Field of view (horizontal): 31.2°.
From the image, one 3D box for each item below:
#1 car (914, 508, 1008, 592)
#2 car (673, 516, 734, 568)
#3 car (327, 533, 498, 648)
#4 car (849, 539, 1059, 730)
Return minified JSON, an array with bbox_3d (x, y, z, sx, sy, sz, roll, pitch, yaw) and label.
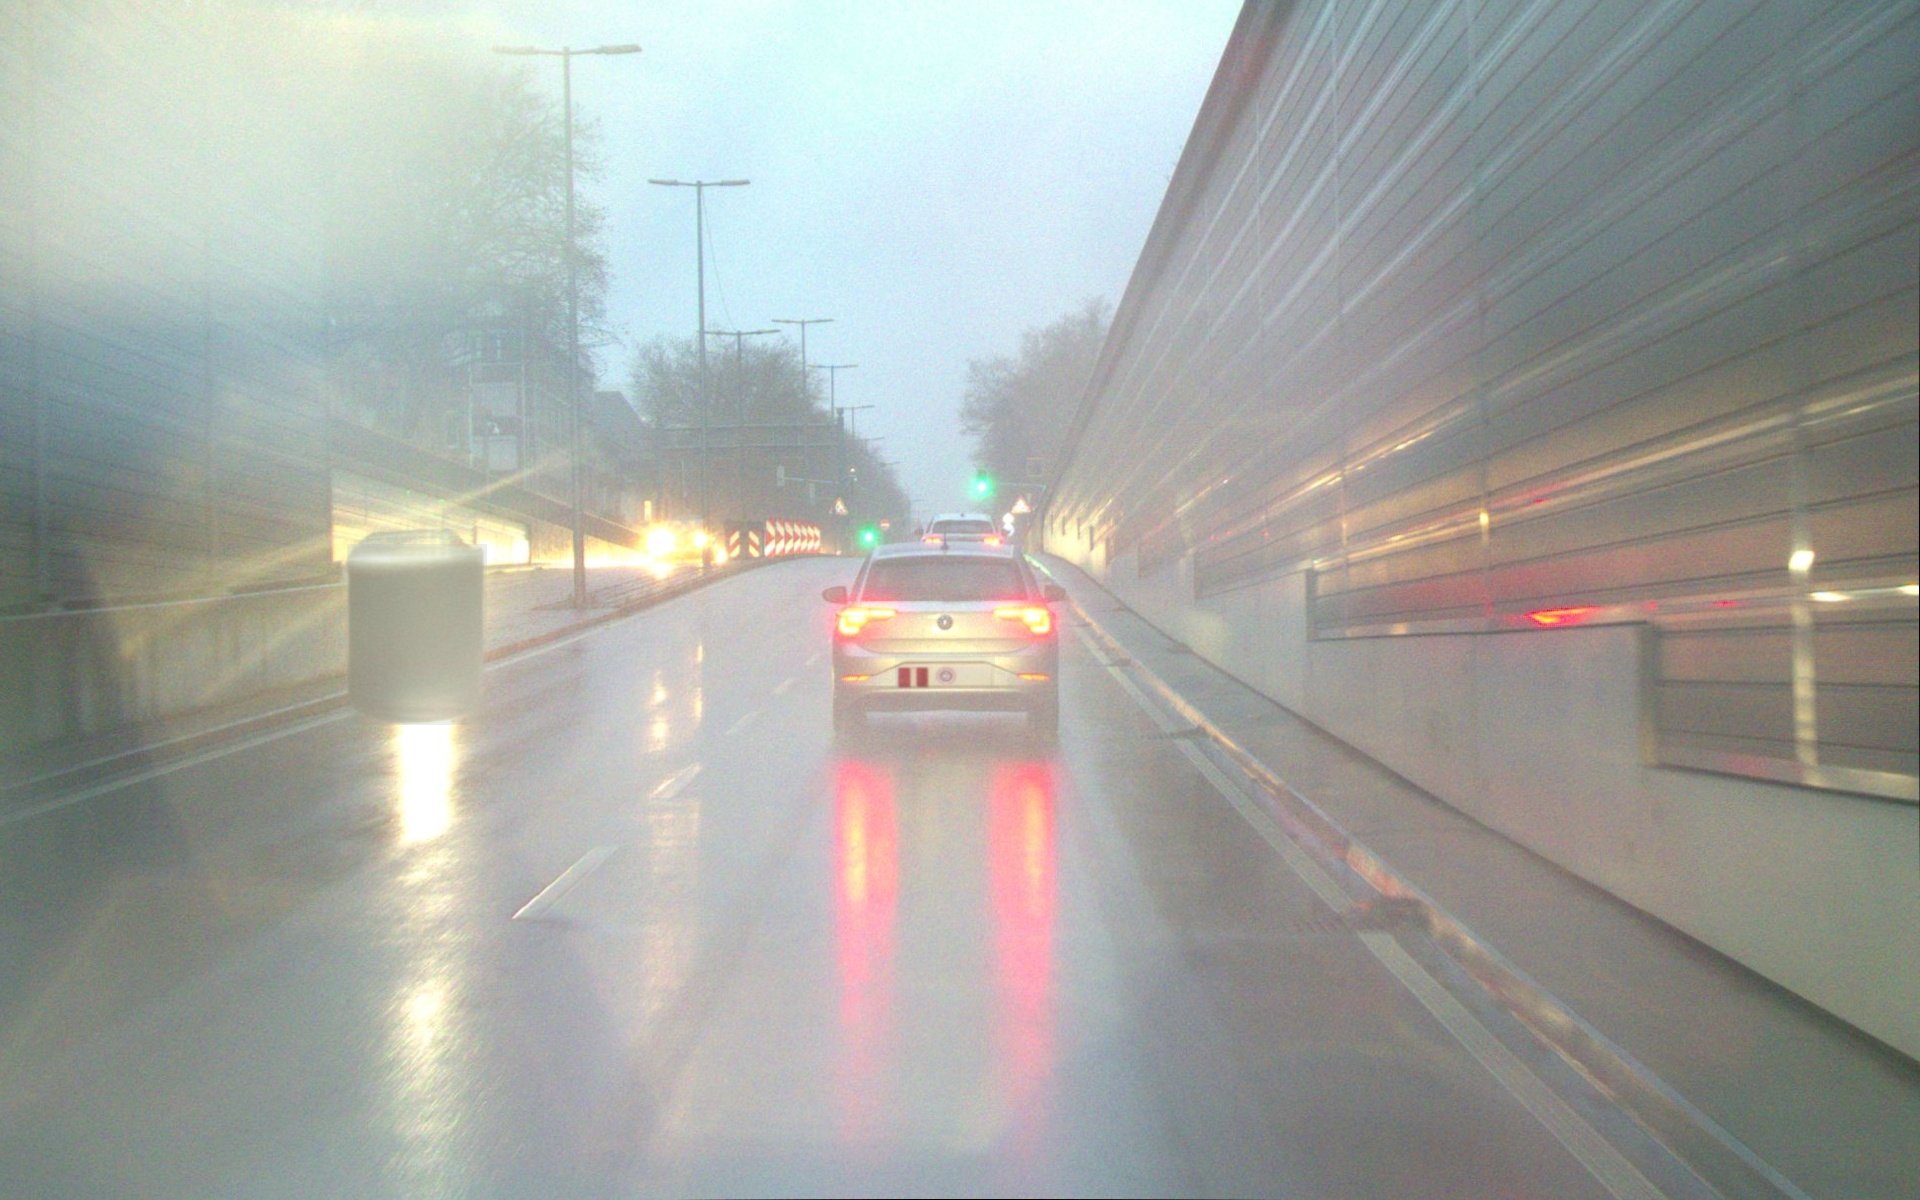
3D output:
[{"bbox_3d":[-0.009,-1.044,73.251,1.880,1.615,4.000,1,-1,-2],"label":"car"},{"bbox_3d":[-7.763,-1.779,104.362,1.571,1.465,3.687,-1,2,0],"label":"car"},{"bbox_3d":[-8.201,-0.108,51.793,1.880,1.615,4.000,1,-1,1],"label":"car"},{"bbox_3d":[-0.032,0.258,26.999,1.532,1.392,3.434,1,0,0],"label":"car"}]
